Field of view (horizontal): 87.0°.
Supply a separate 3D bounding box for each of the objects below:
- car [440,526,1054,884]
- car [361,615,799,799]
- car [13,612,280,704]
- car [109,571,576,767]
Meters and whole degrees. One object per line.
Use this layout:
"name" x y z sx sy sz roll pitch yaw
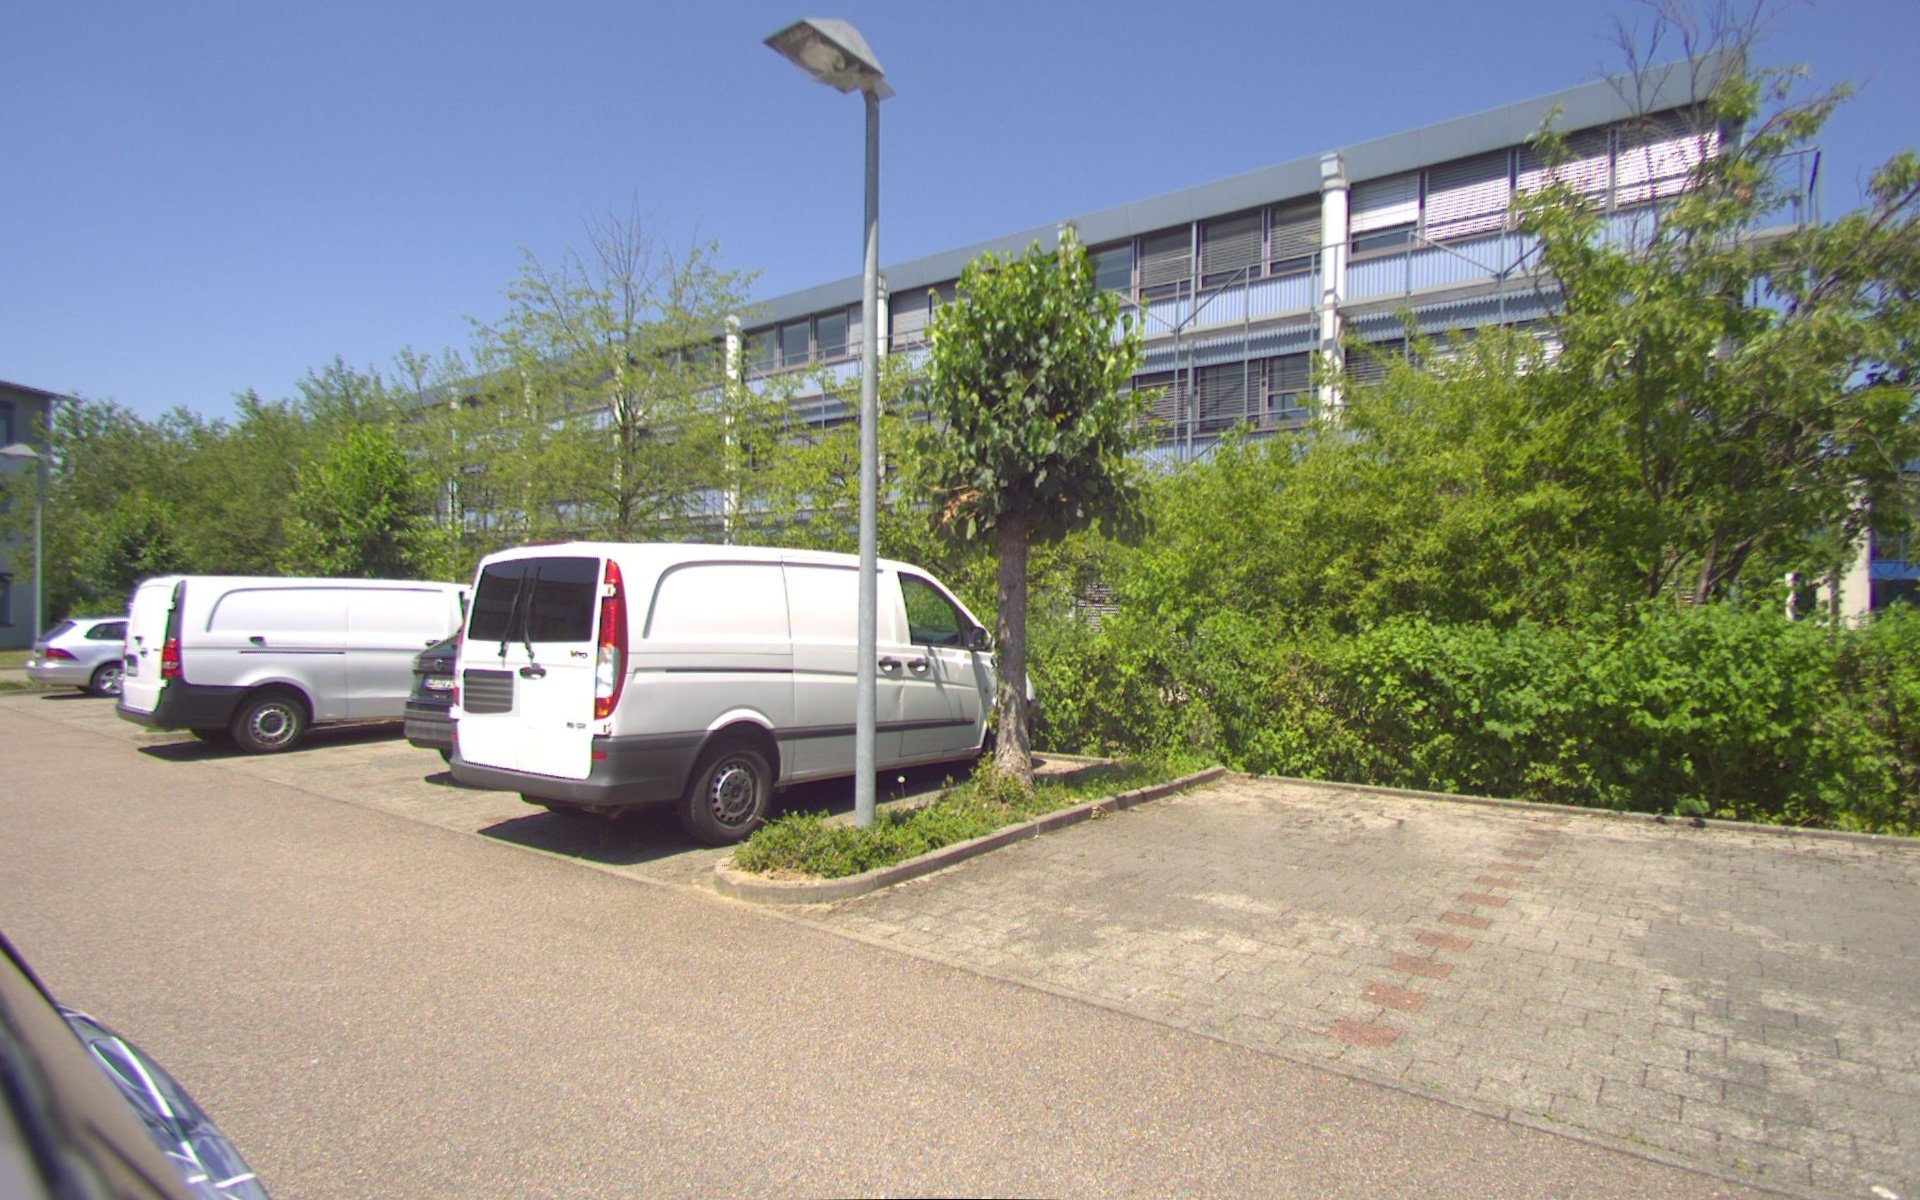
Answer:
"car" -1.257 0.587 7.879 1.826 1.920 4.677 -1 -1 36
"car" -3.506 0.872 9.934 1.574 1.404 3.804 -1 -1 36
"car" -15.481 1.025 19.431 1.658 1.569 3.719 -1 -1 36
"car" -7.139 0.695 12.183 1.826 1.896 4.465 -1 -1 36
